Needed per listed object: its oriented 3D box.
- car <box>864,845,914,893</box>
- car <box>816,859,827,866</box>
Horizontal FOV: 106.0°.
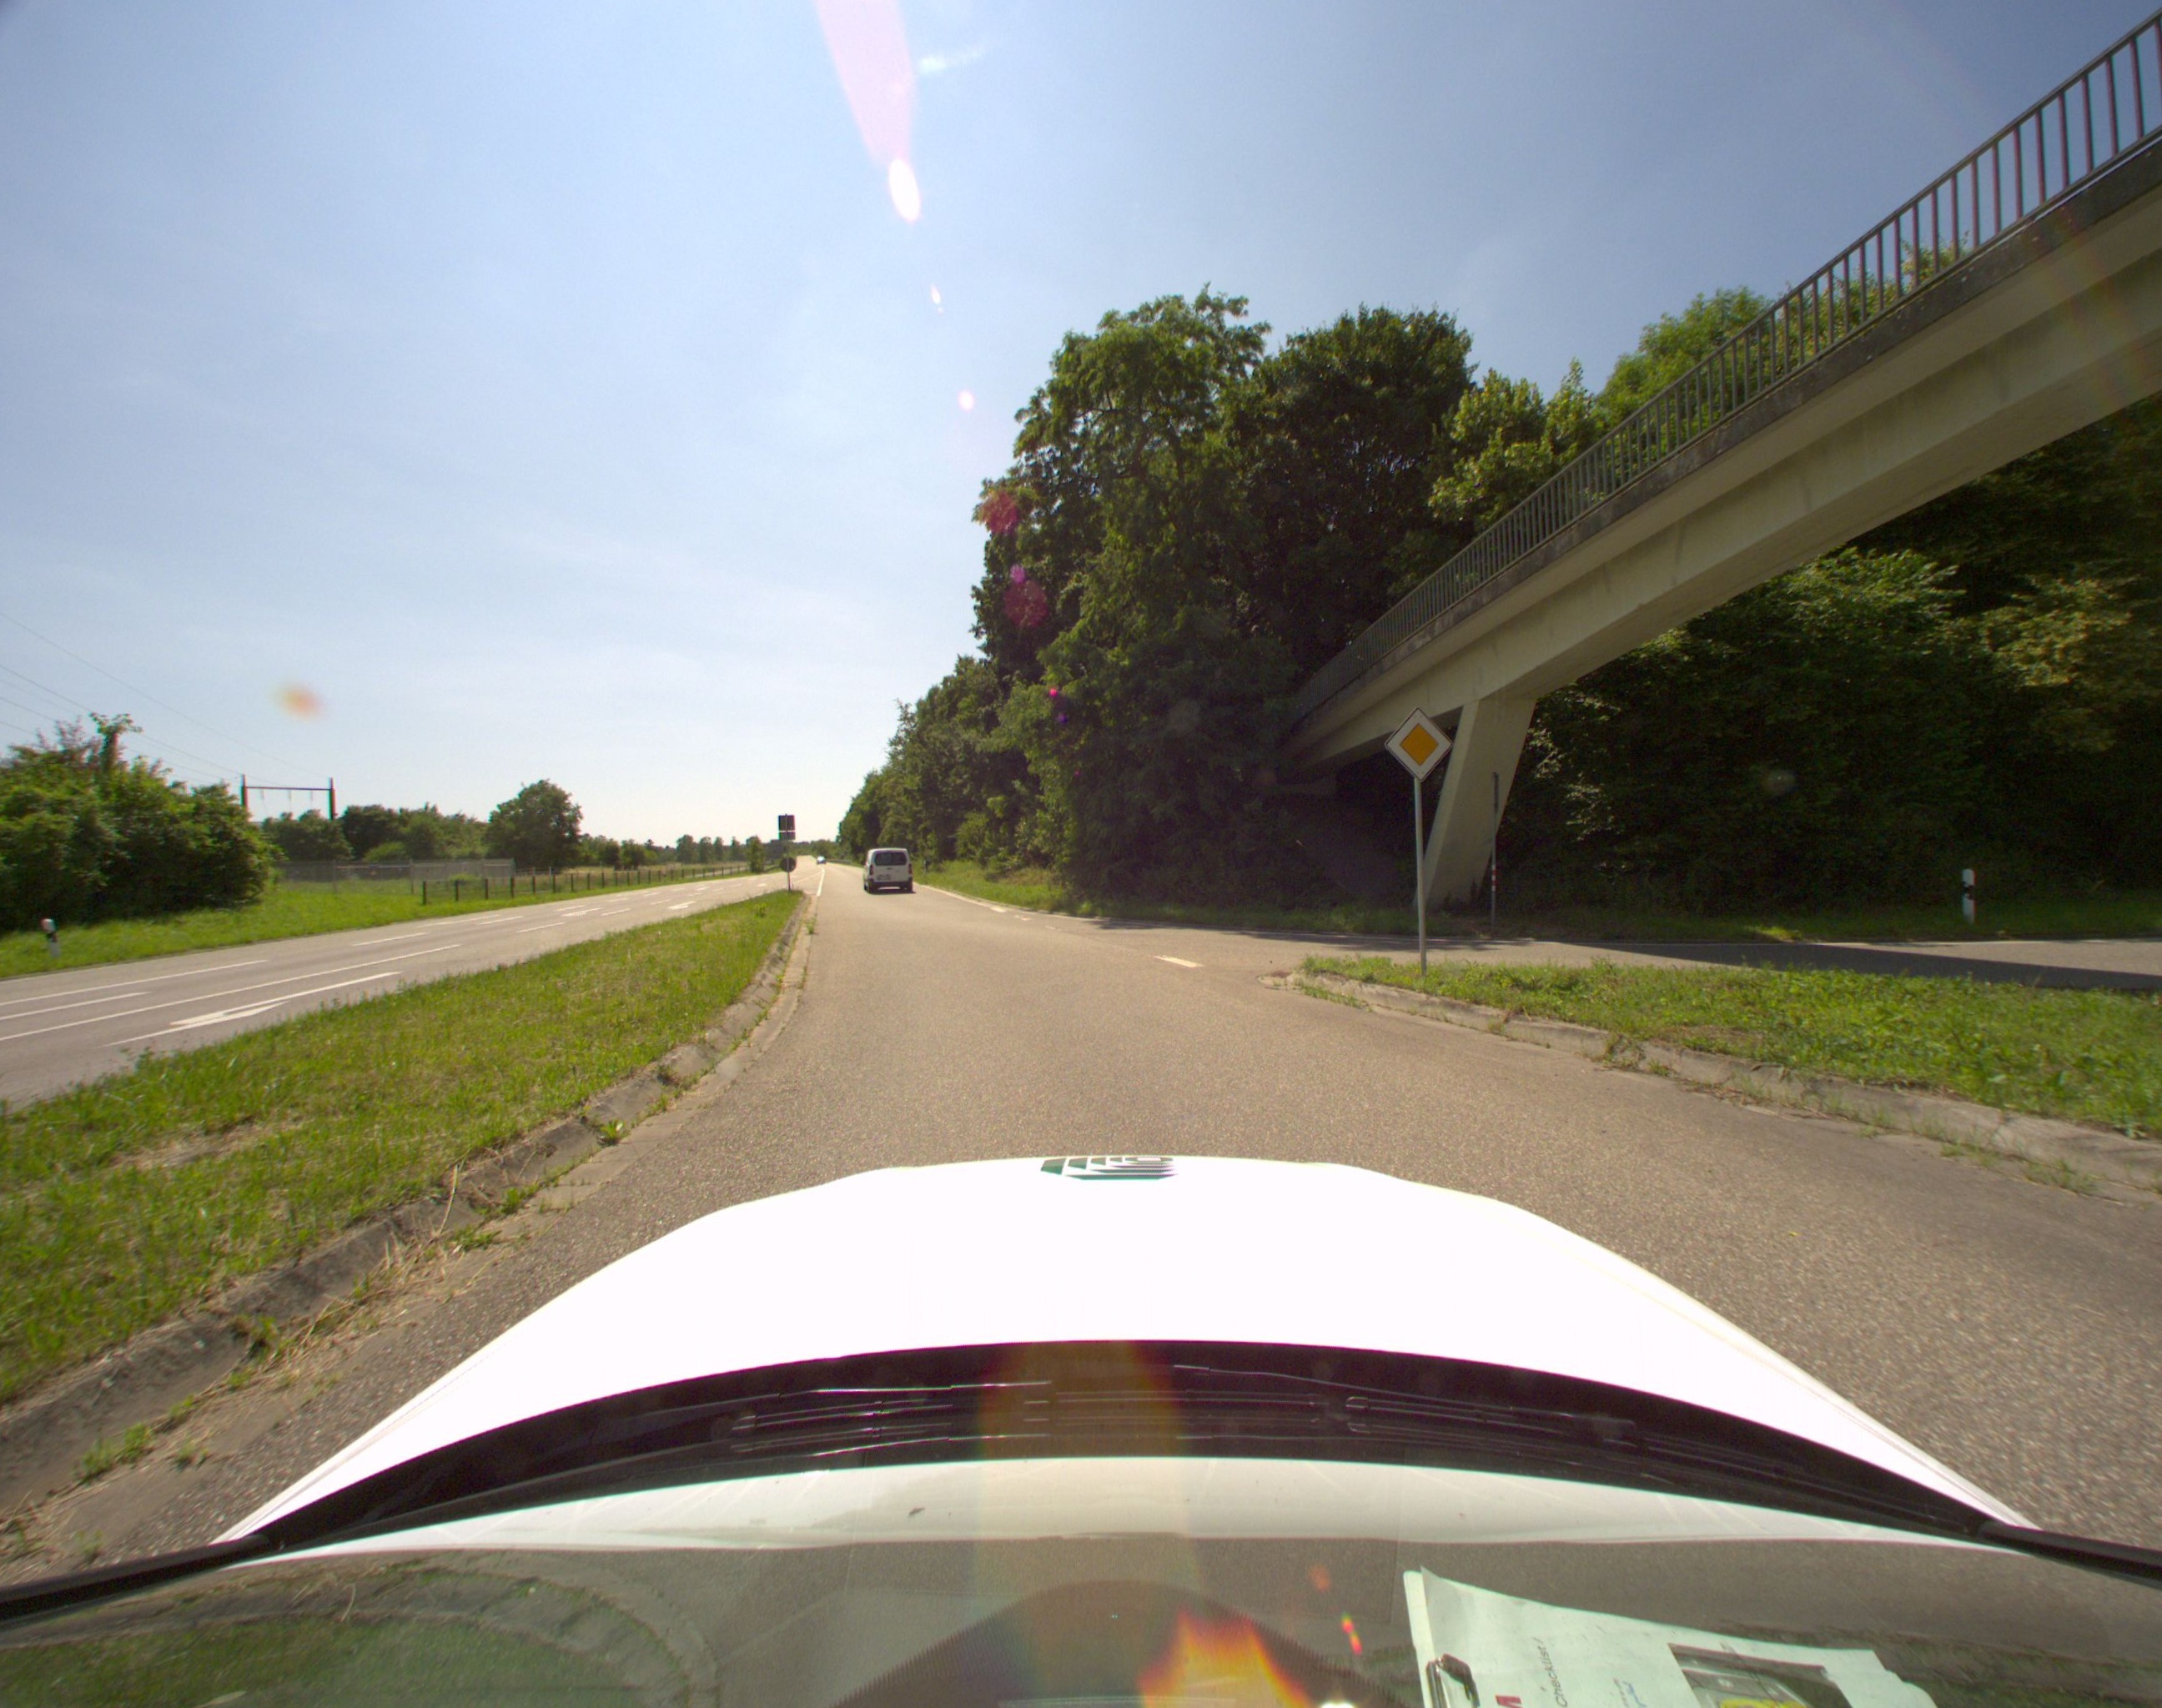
[{"bbox_3d":[-8.112,0.615,34.227,1.853,1.825,3.960,-1,0,-15],"label":"car"},{"bbox_3d":[-52.417,1.757,164.358,1.998,1.373,4.755,-2,0,-16],"label":"car"}]
